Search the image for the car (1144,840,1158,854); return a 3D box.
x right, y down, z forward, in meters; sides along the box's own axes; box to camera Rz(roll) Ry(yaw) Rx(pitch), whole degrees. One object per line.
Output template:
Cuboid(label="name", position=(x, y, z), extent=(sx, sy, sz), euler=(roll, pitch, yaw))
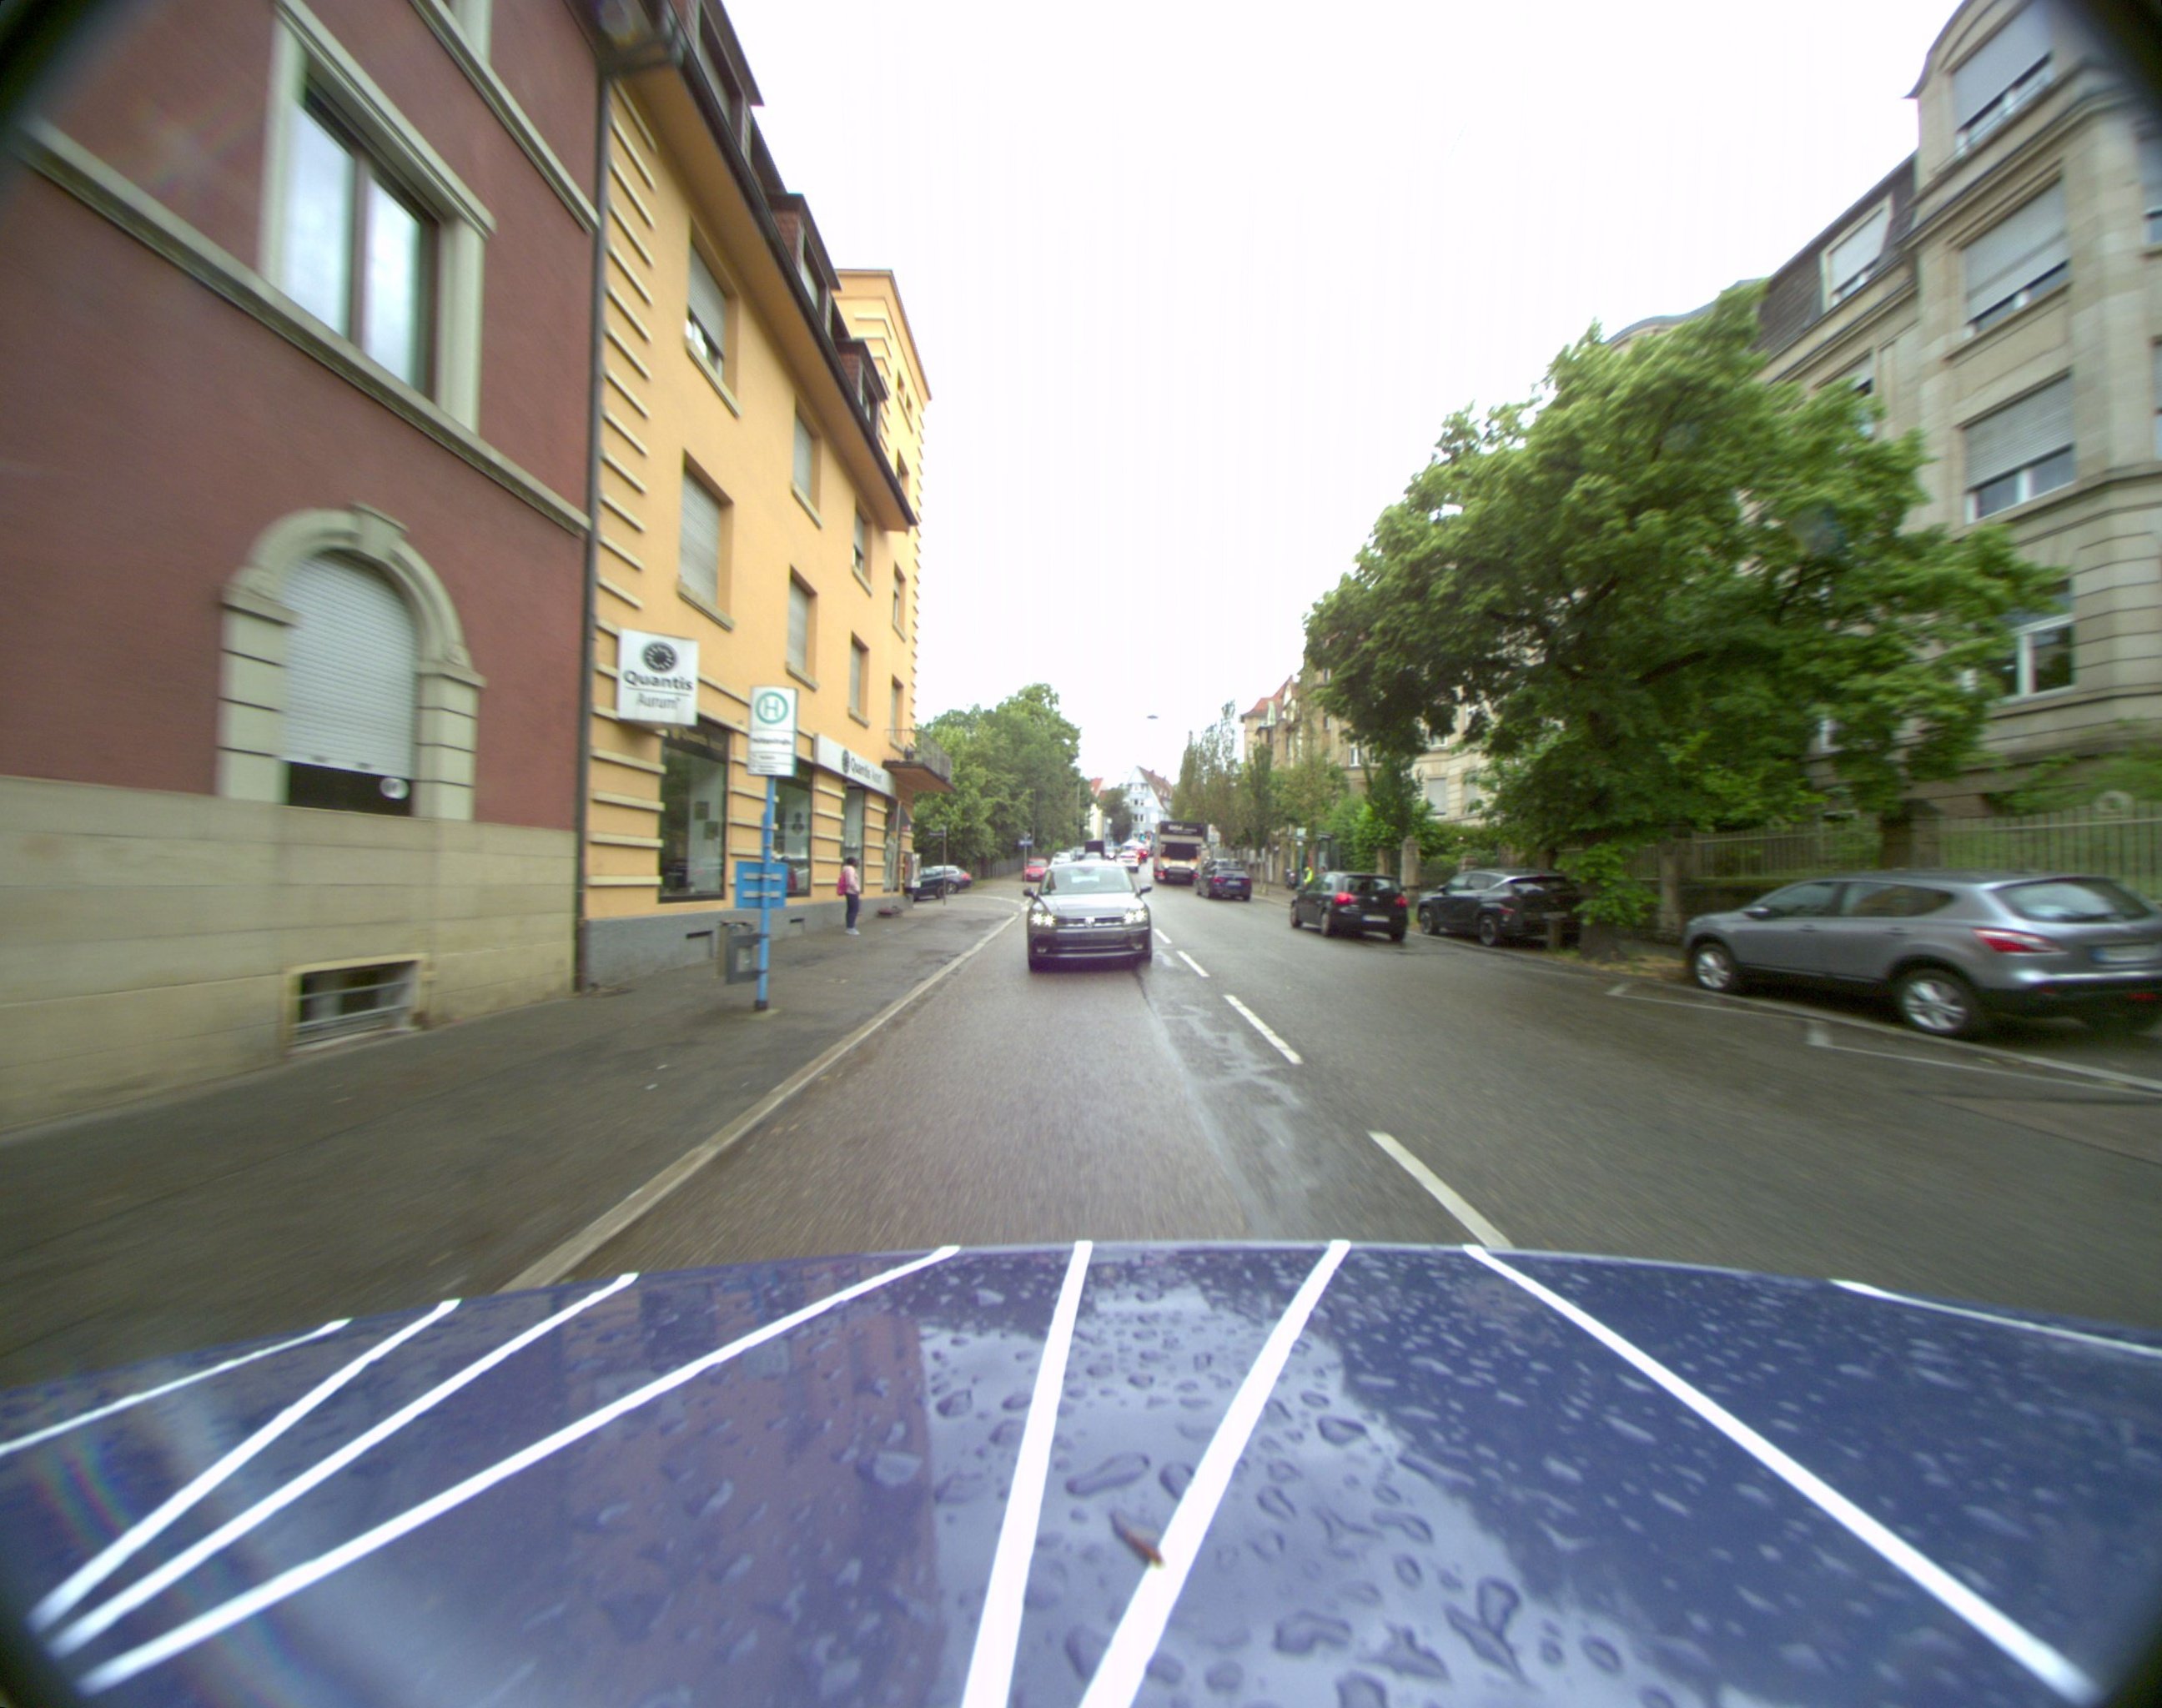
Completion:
Cuboid(label="car", position=(9.301, -0.974, 100.400), extent=(1.655, 1.698, 4.114), euler=(3, 2, 7))

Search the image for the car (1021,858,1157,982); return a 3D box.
Cuboid(label="car", position=(0.141, 0.916, 12.991), extent=(1.860, 1.641, 5.195), euler=(0, 0, 1))

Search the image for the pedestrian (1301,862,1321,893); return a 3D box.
Cuboid(label="pedestrian", position=(10.852, 1.106, 35.846), extent=(0.768, 1.424, 0.649), euler=(1, 1, 3))

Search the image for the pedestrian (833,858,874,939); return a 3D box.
Cuboid(label="pedestrian", position=(-4.620, 0.874, 15.408), extent=(0.769, 1.580, 0.711), euler=(0, 2, -18))

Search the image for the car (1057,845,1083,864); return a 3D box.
Cuboid(label="car", position=(-1.052, 0.045, 74.414), extent=(1.924, 1.641, 4.884), euler=(4, 1, 5))

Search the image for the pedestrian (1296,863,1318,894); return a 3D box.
Cuboid(label="pedestrian", position=(10.837, 1.172, 36.453), extent=(0.768, 1.424, 0.759), euler=(1, 1, 1))

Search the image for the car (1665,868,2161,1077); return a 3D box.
Cuboid(label="car", position=(9.013, 1.027, 8.452), extent=(1.746, 1.550, 4.301), euler=(-1, 1, 1))

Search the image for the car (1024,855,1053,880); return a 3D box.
Cuboid(label="car", position=(-2.755, 0.850, 50.111), extent=(1.613, 1.493, 3.957), euler=(1, 1, 0))

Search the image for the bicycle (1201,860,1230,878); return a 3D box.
Cuboid(label="bicycle", position=(9.559, 1.064, 53.996), extent=(1.980, 1.228, 0.657), euler=(1, 1, 0))

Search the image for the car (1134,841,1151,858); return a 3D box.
Cuboid(label="car", position=(6.751, -0.474, 83.698), extent=(1.655, 1.698, 4.114), euler=(3, 2, 7))

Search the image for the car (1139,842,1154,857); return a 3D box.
Cuboid(label="car", position=(8.128, -0.528, 94.286), extent=(1.655, 1.698, 4.114), euler=(3, 2, 7))

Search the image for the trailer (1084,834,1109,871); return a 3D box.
Cuboid(label="trailer", position=(1.345, -0.159, 64.978), extent=(1.966, 3.024, 2.365), euler=(-1, 1, 4))

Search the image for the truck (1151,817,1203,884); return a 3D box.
Cuboid(label="truck", position=(6.117, -0.231, 49.599), extent=(2.653, 3.832, 9.308), euler=(2, 1, 4))

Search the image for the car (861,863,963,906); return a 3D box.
Cuboid(label="car", position=(-7.254, 1.278, 33.066), extent=(1.850, 1.461, 4.116), euler=(-2, 3, 33))

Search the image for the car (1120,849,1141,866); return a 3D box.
Cuboid(label="car", position=(4.635, 0.311, 70.436), extent=(1.766, 1.423, 3.886), euler=(1, 2, 6))

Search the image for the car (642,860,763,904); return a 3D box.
Cuboid(label="car", position=(-16.129, 1.147, 32.654), extent=(1.704, 1.714, 4.547), euler=(-2, 0, 24))

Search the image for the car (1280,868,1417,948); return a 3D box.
Cuboid(label="car", position=(6.119, 1.143, 17.959), extent=(1.776, 1.508, 4.591), euler=(1, 0, 3))

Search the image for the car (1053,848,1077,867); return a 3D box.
Cuboid(label="car", position=(-1.413, 0.285, 69.006), extent=(1.745, 1.455, 4.884), euler=(4, 1, 4))

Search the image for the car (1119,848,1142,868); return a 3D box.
Cuboid(label="car", position=(4.121, 0.310, 63.198), extent=(1.776, 1.509, 4.100), euler=(1, 1, 4))

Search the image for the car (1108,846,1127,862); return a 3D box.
Cuboid(label="car", position=(3.994, -0.038, 83.242), extent=(1.924, 1.641, 4.135), euler=(-1, 1, 4))

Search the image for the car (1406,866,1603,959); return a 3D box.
Cuboid(label="car", position=(9.008, 1.151, 16.641), extent=(1.746, 1.550, 4.300), euler=(-3, 1, -2))

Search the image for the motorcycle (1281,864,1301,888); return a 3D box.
Cuboid(label="motorcycle", position=(11.348, 1.176, 41.120), extent=(0.657, 1.230, 1.763), euler=(1, 1, 4))

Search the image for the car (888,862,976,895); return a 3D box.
Cuboid(label="car", position=(-7.805, 1.259, 40.111), extent=(4.280, 1.489, 2.002), euler=(-3, -1, -4))

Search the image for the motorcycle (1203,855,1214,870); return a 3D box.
Cuboid(label="motorcycle", position=(10.622, 0.710, 63.426), extent=(0.657, 1.228, 1.982), euler=(1, 1, 4))

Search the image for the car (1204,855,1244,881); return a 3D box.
Cuboid(label="car", position=(9.622, 0.889, 51.397), extent=(1.746, 1.550, 4.300), euler=(-2, 1, -1))

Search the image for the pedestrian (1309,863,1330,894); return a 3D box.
Cuboid(label="pedestrian", position=(11.015, 1.131, 35.161), extent=(0.768, 1.424, 0.649), euler=(1, 1, 3))

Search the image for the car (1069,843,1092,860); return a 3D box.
Cuboid(label="car", position=(0.010, -0.284, 84.152), extent=(1.971, 1.642, 4.816), euler=(4, 2, 6))

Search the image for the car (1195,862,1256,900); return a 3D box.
Cuboid(label="car", position=(6.386, 1.134, 34.085), extent=(1.776, 1.459, 4.747), euler=(3, 0, 0))

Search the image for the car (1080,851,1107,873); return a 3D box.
Cuboid(label="car", position=(1.077, 0.621, 61.712), extent=(1.924, 1.641, 4.135), euler=(-1, 1, 4))

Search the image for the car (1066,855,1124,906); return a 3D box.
Cuboid(label="car", position=(0.527, 0.891, 27.717), extent=(1.925, 1.641, 4.486), euler=(-1, 1, 2))
